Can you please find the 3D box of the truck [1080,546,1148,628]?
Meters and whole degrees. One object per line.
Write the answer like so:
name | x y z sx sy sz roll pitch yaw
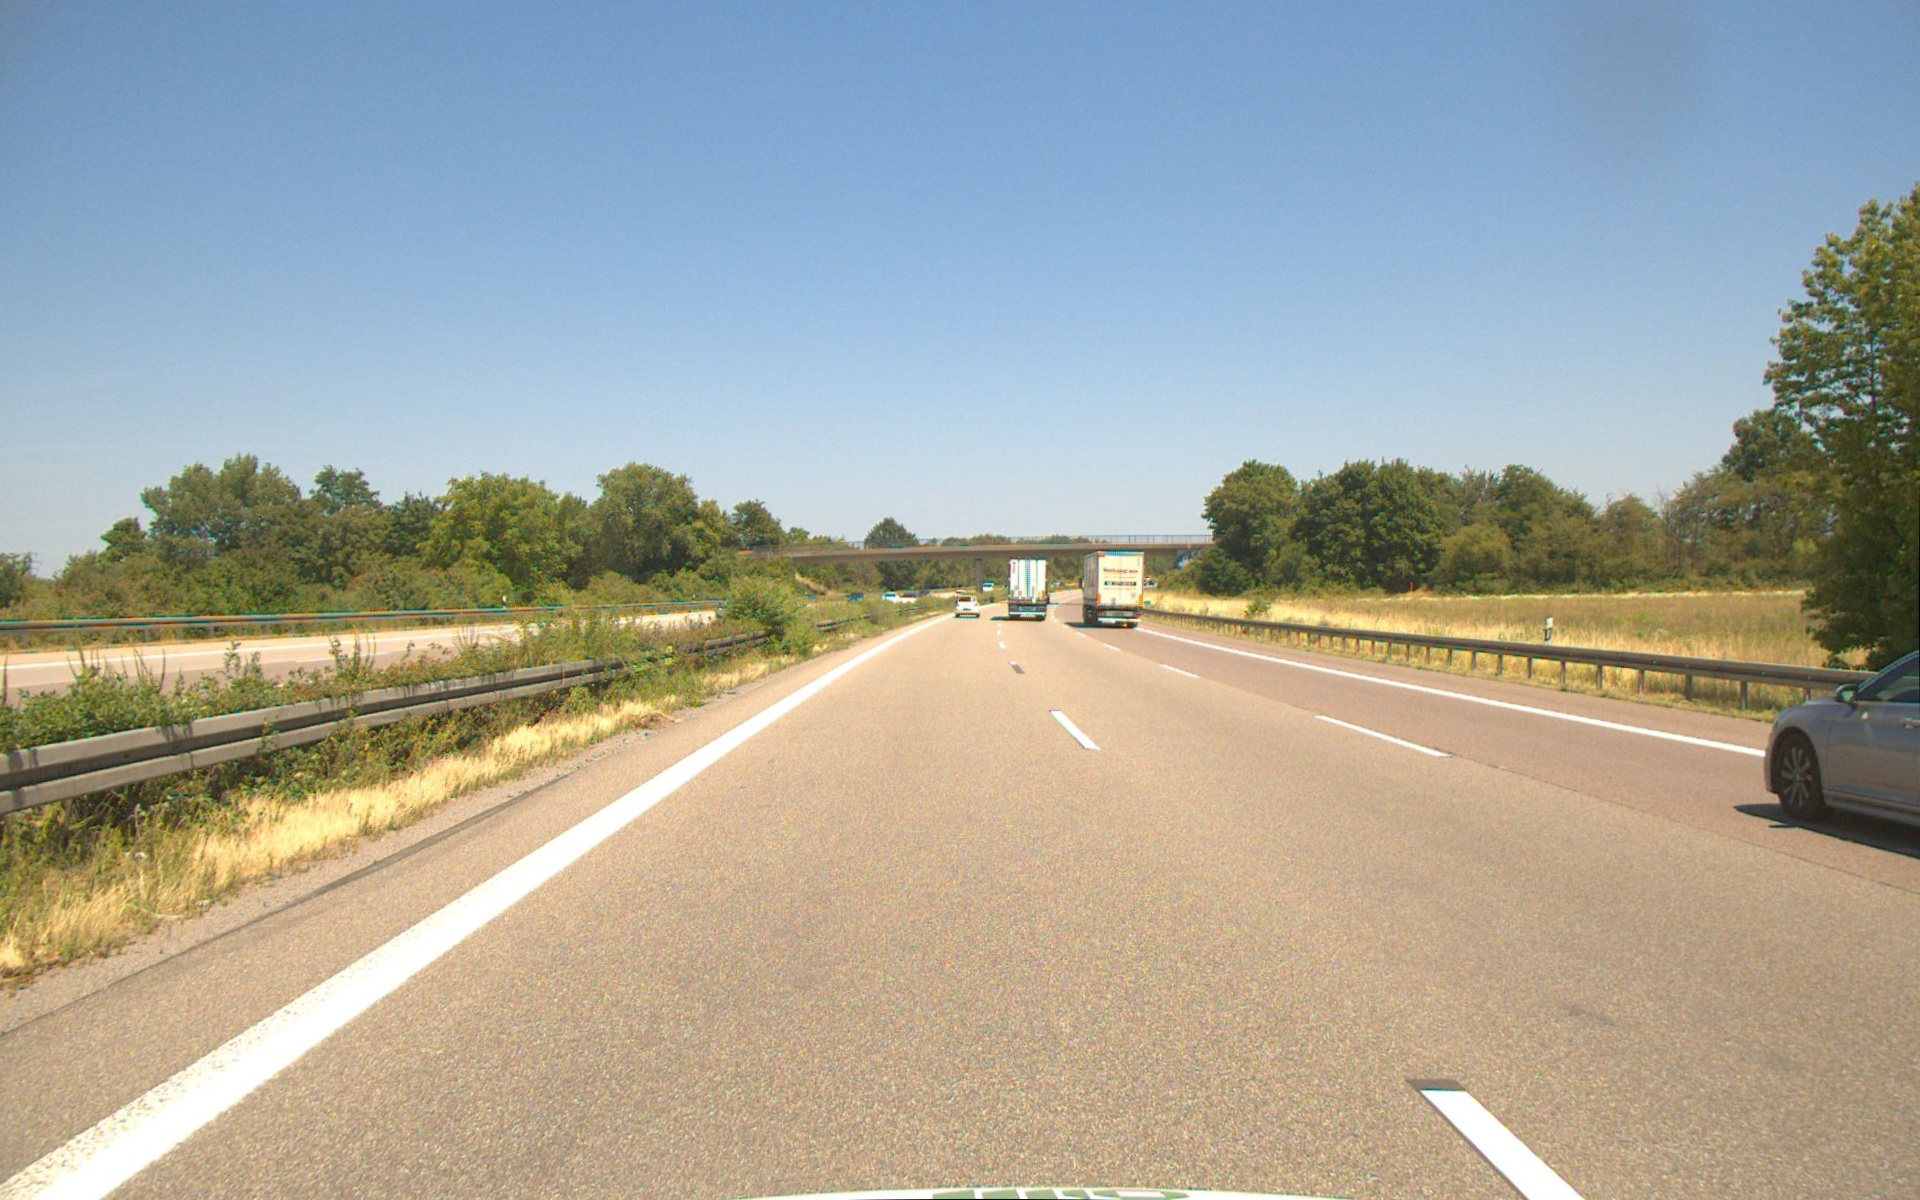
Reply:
truck | 8.794 -0.823 96.297 3.115 4.379 16.024 1 1 3

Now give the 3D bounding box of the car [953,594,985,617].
car | 0.682 0.360 117.117 1.789 1.574 4.322 1 0 6

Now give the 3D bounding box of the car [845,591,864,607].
car | -11.716 -0.114 183.881 1.745 1.690 4.658 0 0 1

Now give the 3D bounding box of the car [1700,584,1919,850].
car | 7.272 0.781 11.143 2.003 1.687 5.509 0 1 -2

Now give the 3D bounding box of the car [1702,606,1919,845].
car | 7.233 0.861 11.192 1.849 1.542 5.378 1 0 -2

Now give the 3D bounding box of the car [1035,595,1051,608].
car | 10.602 0.142 210.672 1.789 1.574 4.322 1 0 6

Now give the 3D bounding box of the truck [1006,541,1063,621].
truck | 5.030 -1.337 113.945 3.590 5.106 16.023 1 1 2
